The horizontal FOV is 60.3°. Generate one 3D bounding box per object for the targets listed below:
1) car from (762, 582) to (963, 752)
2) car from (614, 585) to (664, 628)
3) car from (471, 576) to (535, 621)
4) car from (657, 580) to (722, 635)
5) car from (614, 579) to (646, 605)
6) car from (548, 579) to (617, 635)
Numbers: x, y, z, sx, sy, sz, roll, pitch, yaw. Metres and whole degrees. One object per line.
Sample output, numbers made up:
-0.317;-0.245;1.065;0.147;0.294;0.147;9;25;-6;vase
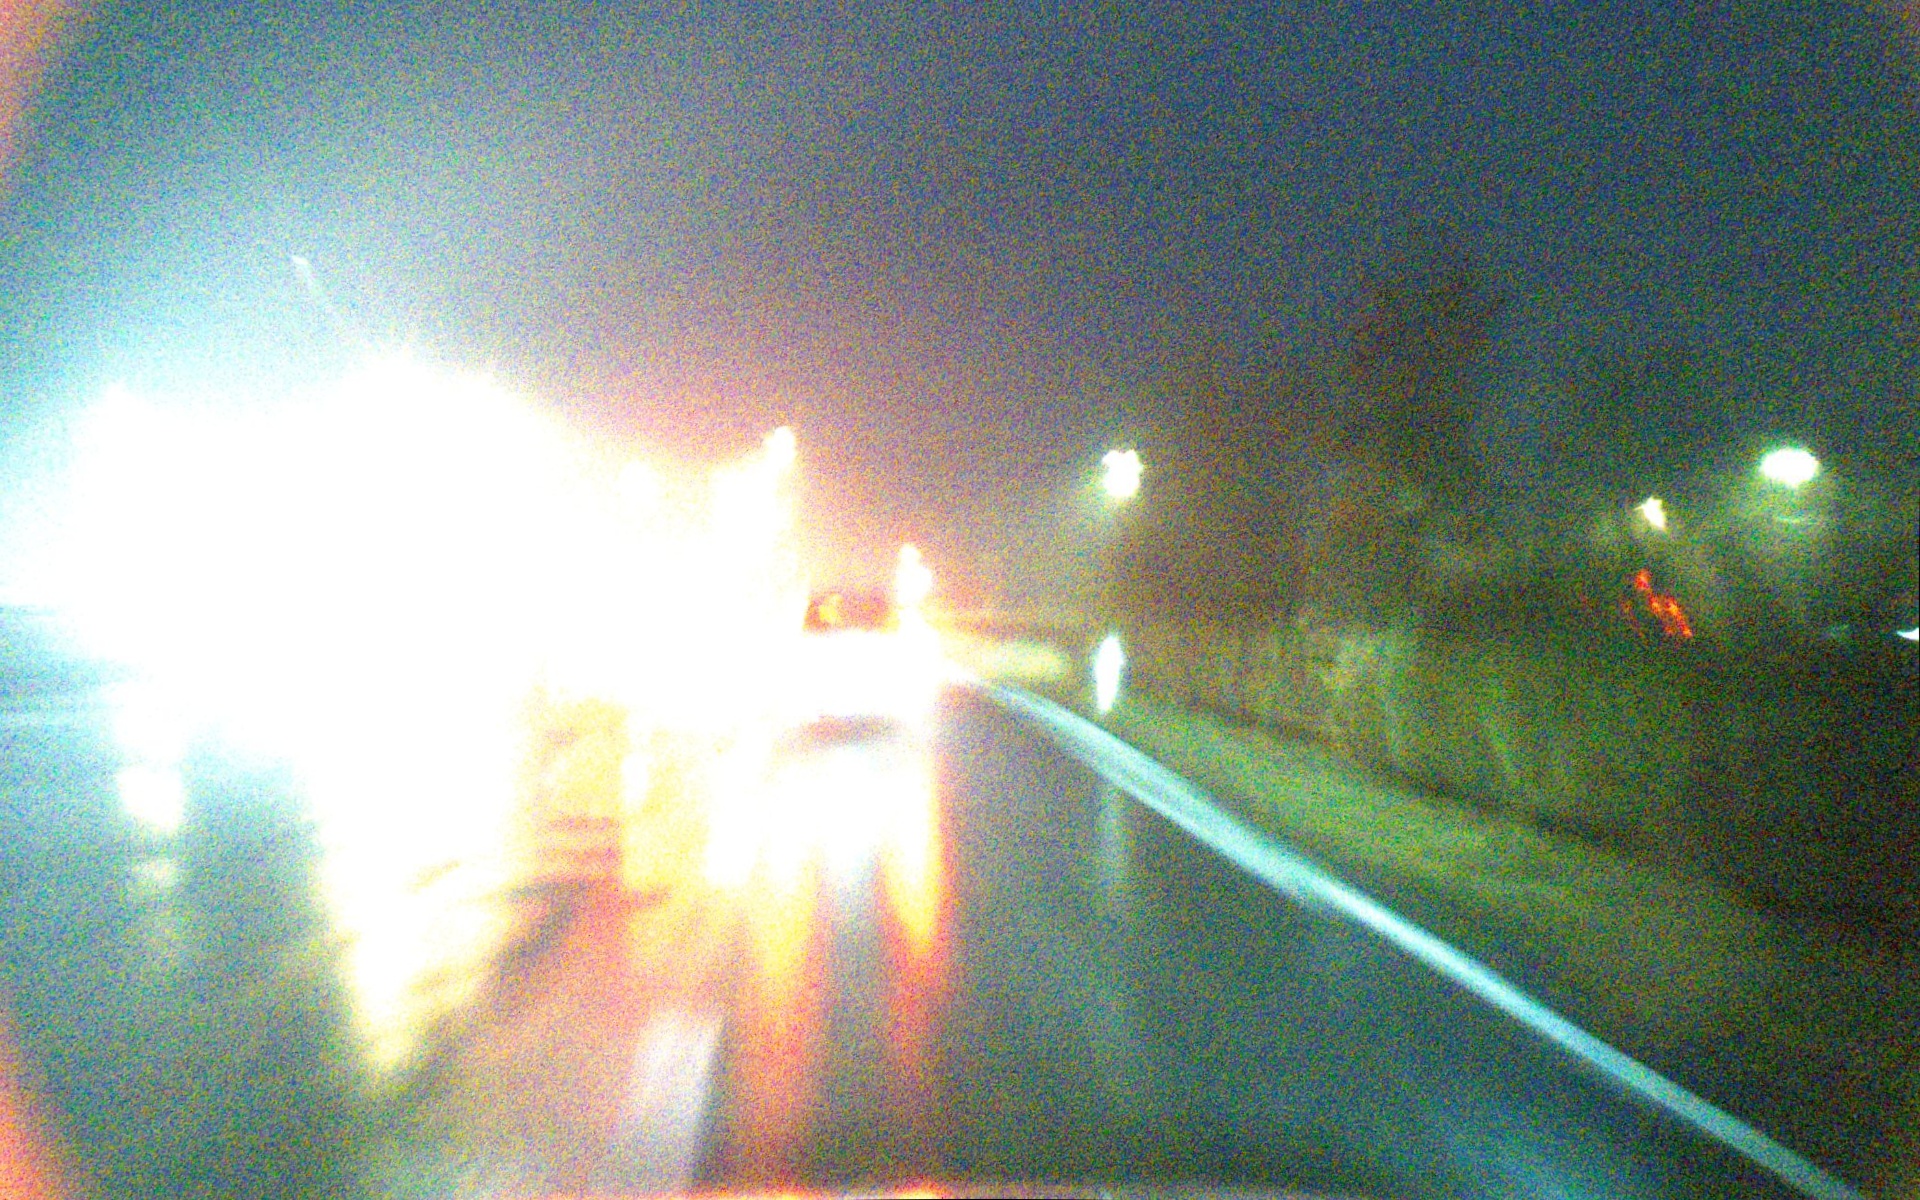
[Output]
-1.219;0.694;18.734;1.955;1.656;4.977;1;-1;-6;car
-13.527;0.227;69.834;1.958;1.656;4.972;-2;1;-11;car
-18.019;-0.099;65.395;1.958;1.656;4.972;-2;1;-11;car
-8.991;0.208;54.709;1.958;1.656;4.972;-2;1;-11;car
-22.987;-0.561;115.028;1.959;1.656;4.968;-2;1;-13;car
-12.467;0.187;54.841;1.958;1.656;4.972;-2;1;-11;car
